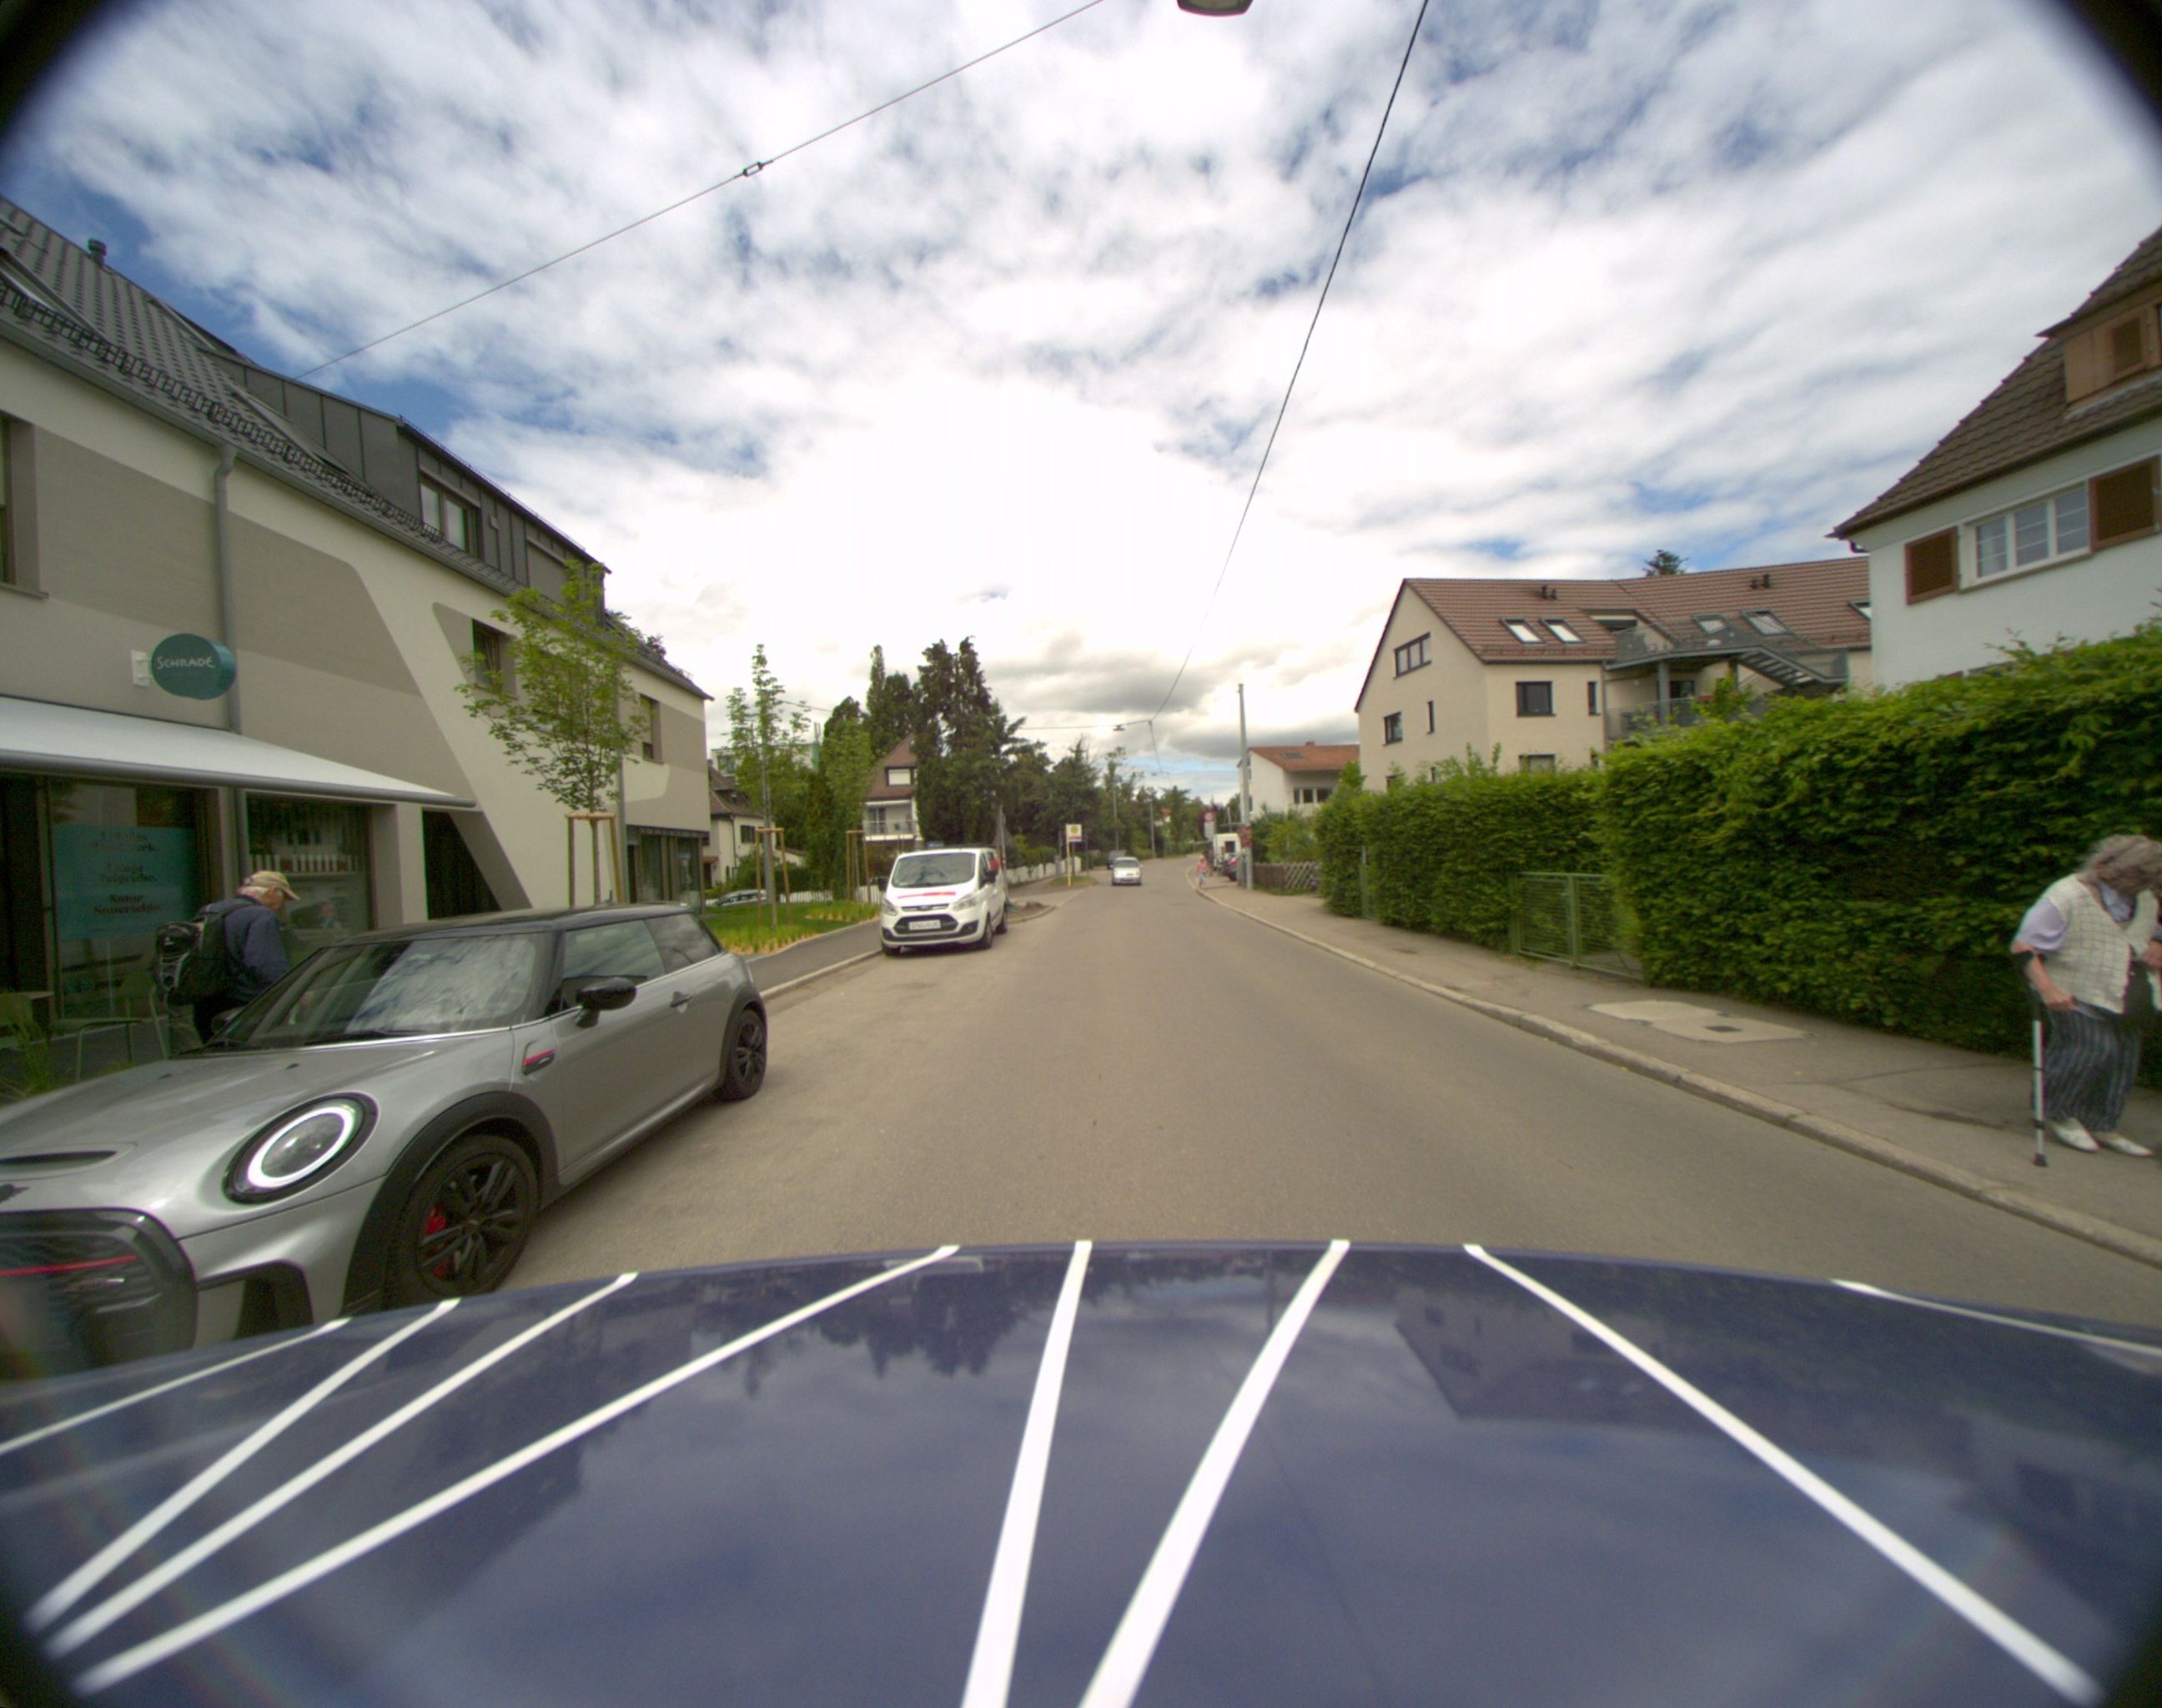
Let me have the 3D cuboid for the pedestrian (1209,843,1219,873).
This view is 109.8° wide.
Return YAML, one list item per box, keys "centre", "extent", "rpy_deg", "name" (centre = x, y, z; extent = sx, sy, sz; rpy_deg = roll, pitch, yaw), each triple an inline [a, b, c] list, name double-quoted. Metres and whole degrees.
- centre: [8.721, 0.250, 49.929]
  extent: [0.535, 1.940, 0.528]
  rpy_deg: [-3, 0, 10]
  name: "pedestrian"

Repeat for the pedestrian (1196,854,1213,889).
- centre: [5.842, 0.834, 35.924]
  extent: [0.619, 1.589, 0.608]
  rpy_deg: [-3, 0, -1]
  name: "pedestrian"

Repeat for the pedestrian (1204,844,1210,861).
- centre: [14.703, -0.127, 88.763]
  extent: [0.527, 1.940, 0.537]
  rpy_deg: [-3, 0, 10]
  name: "pedestrian"

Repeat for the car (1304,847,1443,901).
- centre: [9.350, 0.624, 24.540]
  extent: [3.760, 1.484, 1.776]
  rpy_deg: [-3, 0, 2]
  name: "car"

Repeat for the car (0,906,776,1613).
- centre: [-3.145, 1.159, 3.745]
  extent: [1.711, 1.443, 3.834]
  rpy_deg: [-4, 0, -1]
  name: "car"

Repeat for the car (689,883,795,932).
- centre: [-15.309, 2.394, 34.472]
  extent: [3.844, 1.587, 1.875]
  rpy_deg: [-7, 1, -7]
  name: "car"

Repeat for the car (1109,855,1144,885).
- centre: [2.584, 0.907, 44.229]
  extent: [1.726, 1.559, 3.927]
  rpy_deg: [-3, 0, 0]
  name: "car"

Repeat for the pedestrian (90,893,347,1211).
- centre: [-4.963, 1.085, 4.423]
  extent: [0.678, 1.659, 0.660]
  rpy_deg: [-2, 0, 0]
  name: "pedestrian"

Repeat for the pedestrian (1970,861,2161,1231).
- centre: [4.845, 0.822, 3.554]
  extent: [0.749, 1.522, 0.544]
  rpy_deg: [-5, 0, -13]
  name: "pedestrian"

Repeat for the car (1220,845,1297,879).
- centre: [10.195, 0.470, 43.858]
  extent: [3.996, 1.718, 1.885]
  rpy_deg: [-3, 0, 2]
  name: "car"

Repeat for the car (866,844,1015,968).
- centre: [-2.676, 0.907, 15.987]
  extent: [1.999, 2.002, 5.566]
  rpy_deg: [-4, 0, -1]
  name: "car"
